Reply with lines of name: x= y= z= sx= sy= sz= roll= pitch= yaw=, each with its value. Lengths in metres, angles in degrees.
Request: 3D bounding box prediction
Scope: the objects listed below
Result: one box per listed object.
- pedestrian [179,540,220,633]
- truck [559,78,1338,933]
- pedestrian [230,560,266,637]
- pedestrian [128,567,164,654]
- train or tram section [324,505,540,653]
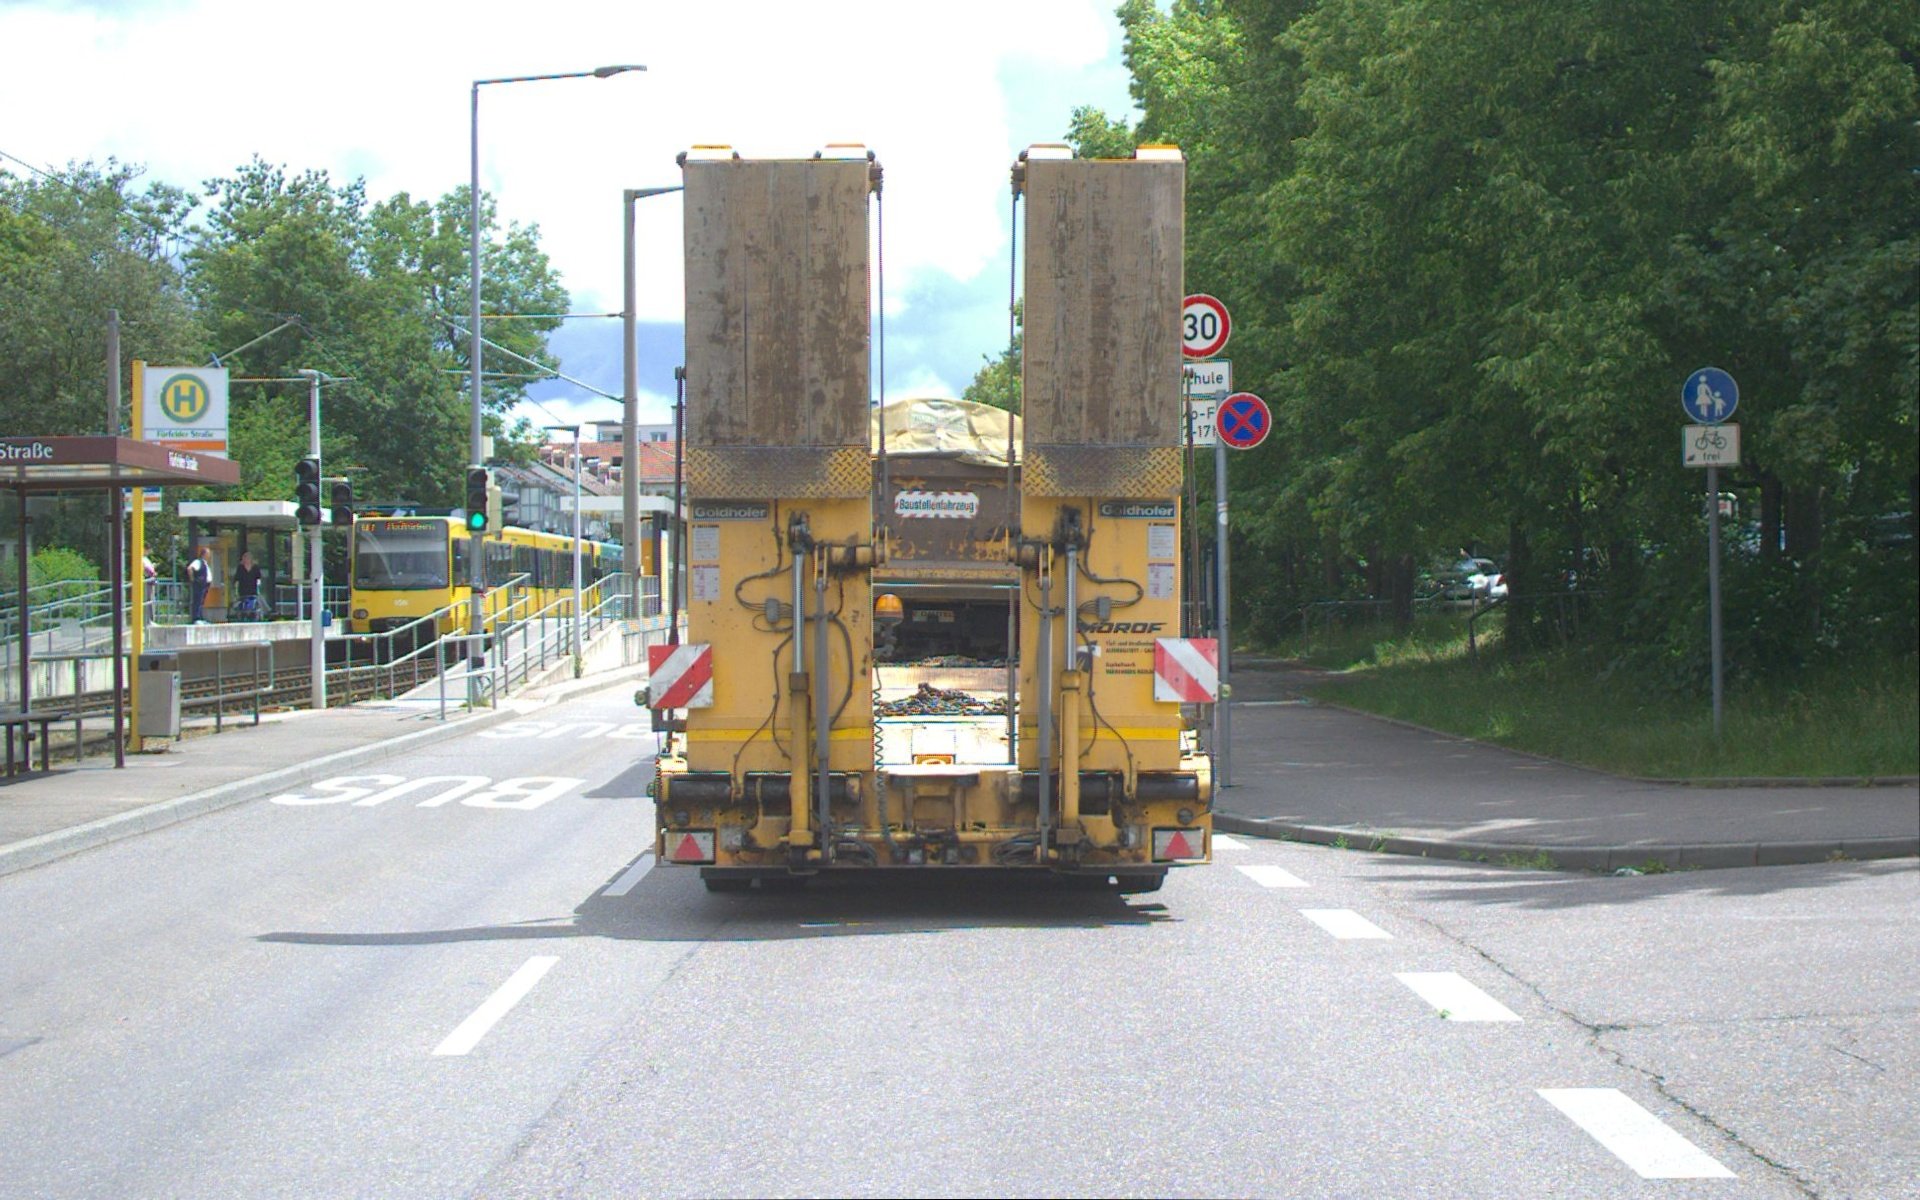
pedestrian: x=-16.684 y=-0.291 z=75.426 sx=0.712 sy=2.007 sz=0.732 roll=1 pitch=0 yaw=-3
truck: x=-0.446 y=-0.403 z=21.906 sx=3.402 sy=3.720 sz=13.740 roll=0 pitch=0 yaw=-3
pedestrian: x=-15.941 y=-0.036 z=77.020 sx=0.639 sy=1.701 sz=0.645 roll=1 pitch=0 yaw=0
pedestrian: x=-16.808 y=0.216 z=70.987 sx=0.584 sy=1.772 sz=0.576 roll=1 pitch=0 yaw=-1
train or tram section: x=-13.737 y=-0.468 z=91.387 sx=3.108 sy=3.453 sz=18.826 roll=1 pitch=0 yaw=-1
